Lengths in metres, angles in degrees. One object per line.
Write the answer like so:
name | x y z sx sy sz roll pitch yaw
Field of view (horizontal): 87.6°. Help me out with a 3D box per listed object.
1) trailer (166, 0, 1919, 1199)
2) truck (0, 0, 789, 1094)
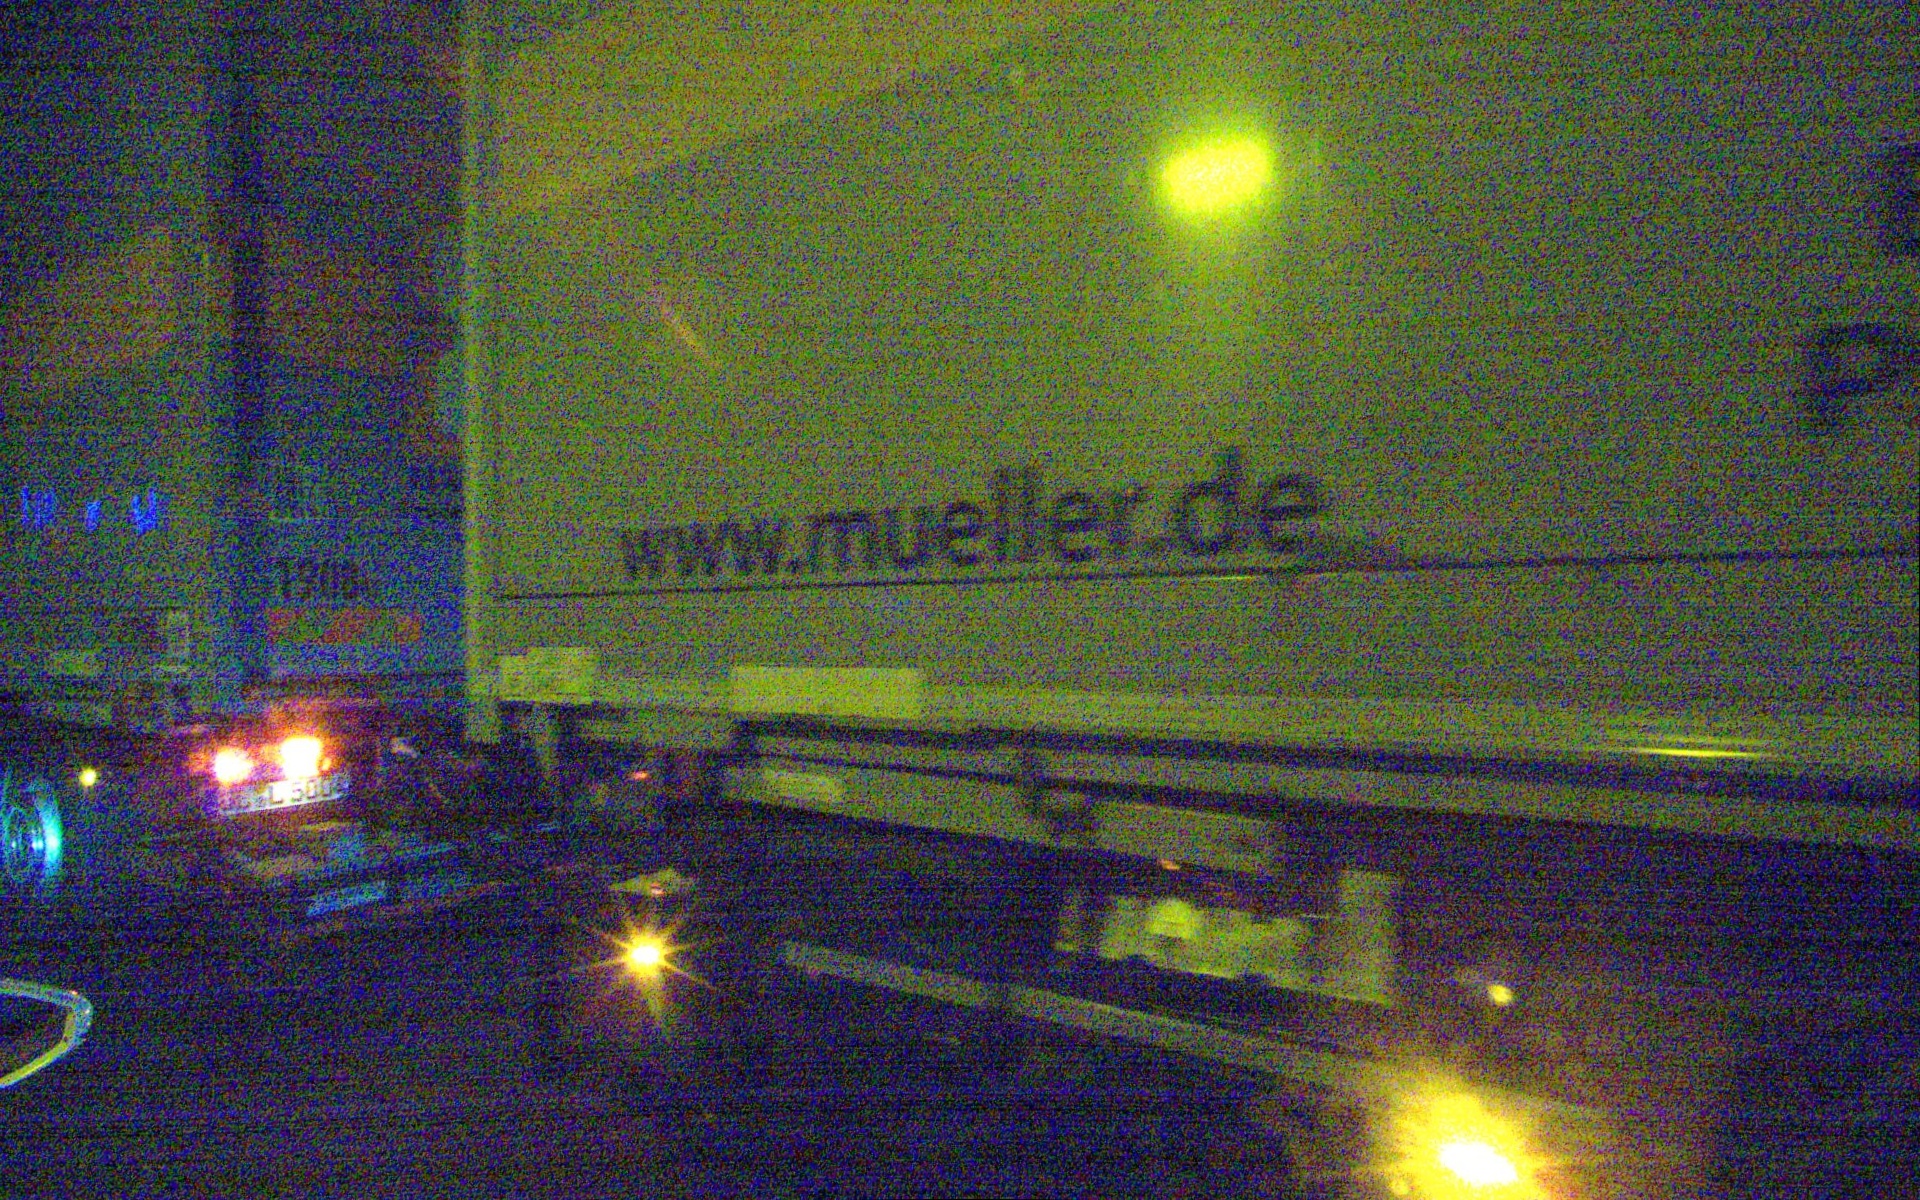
trailer | 1.943 -0.455 2.039 8.821 3.909 2.869 -1 0 33
truck | -5.866 -0.338 7.047 9.767 3.965 2.883 -1 0 32
